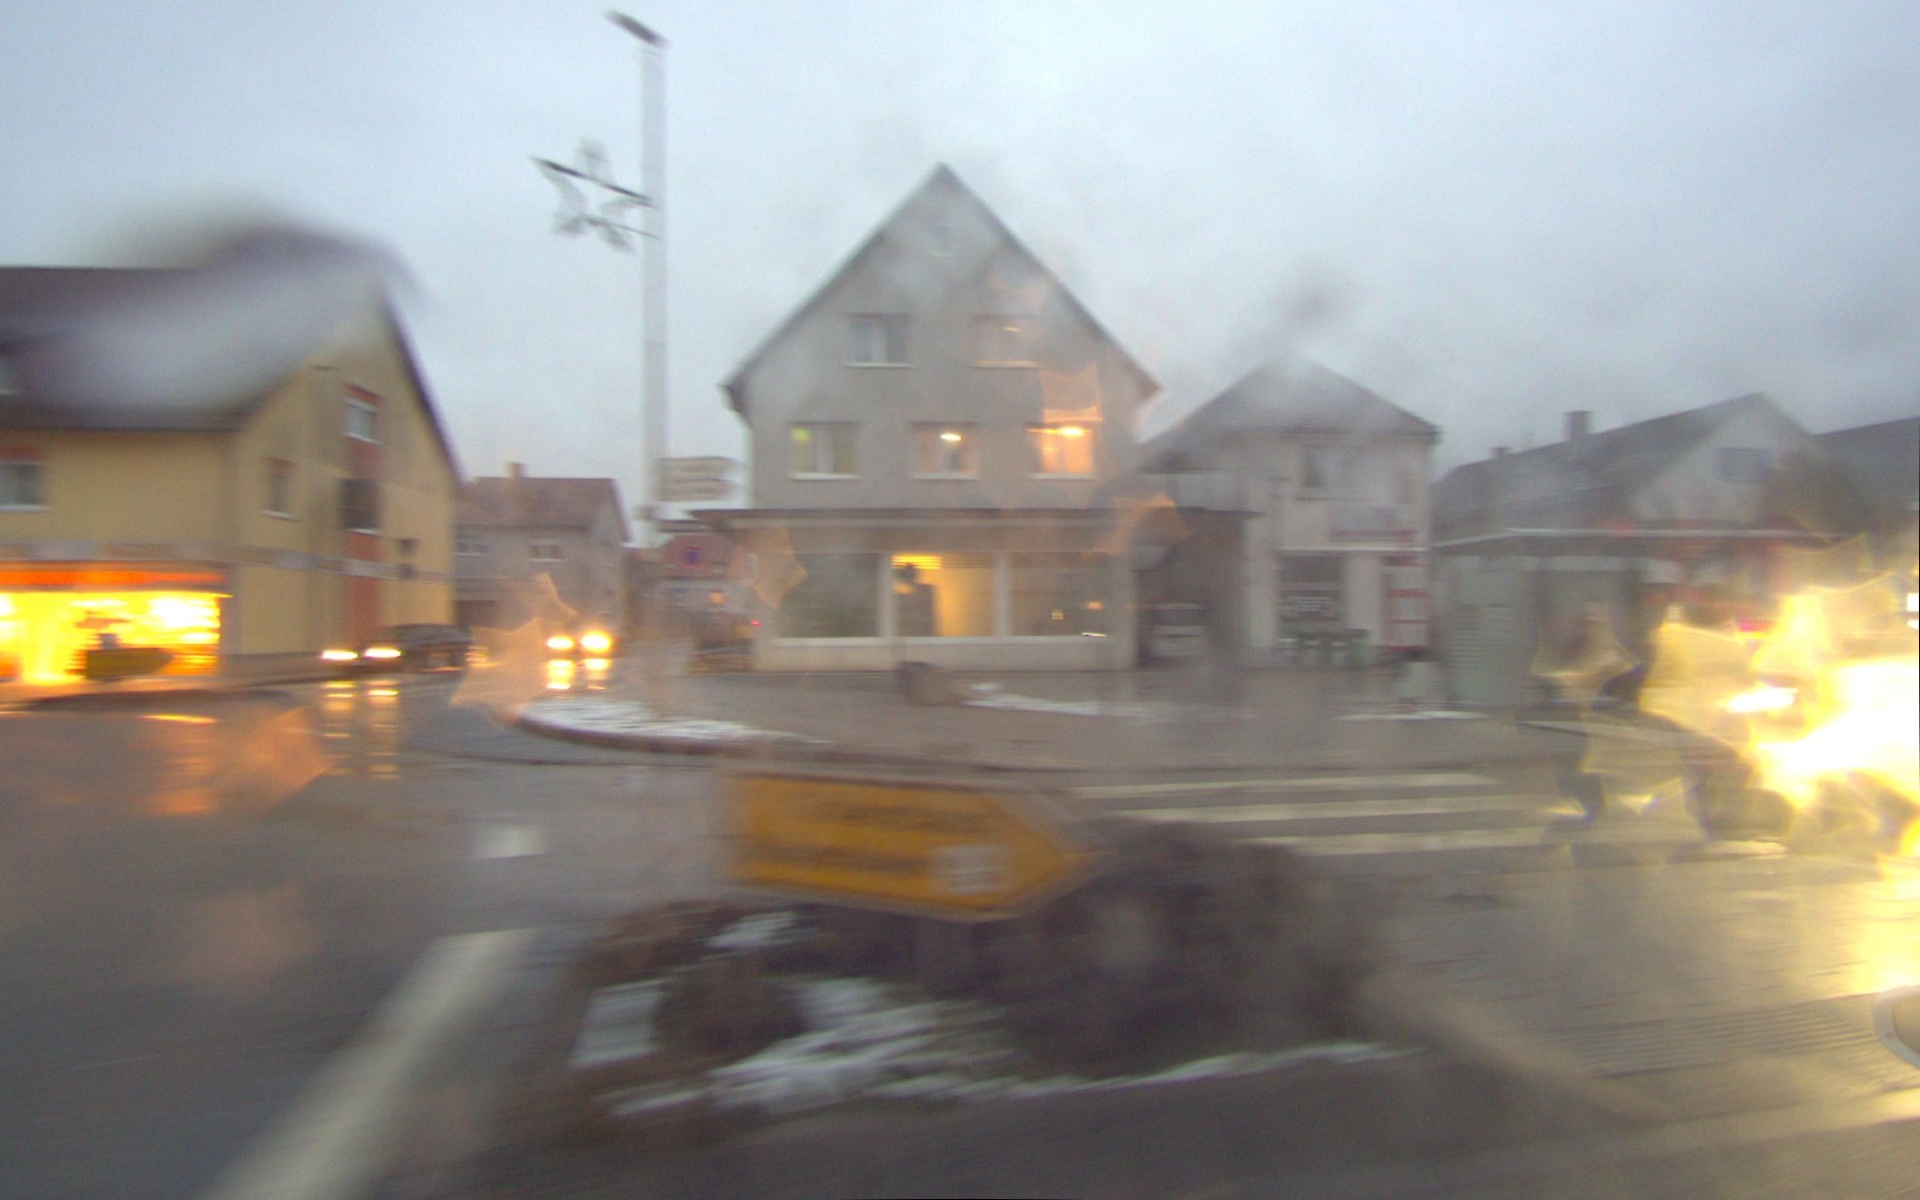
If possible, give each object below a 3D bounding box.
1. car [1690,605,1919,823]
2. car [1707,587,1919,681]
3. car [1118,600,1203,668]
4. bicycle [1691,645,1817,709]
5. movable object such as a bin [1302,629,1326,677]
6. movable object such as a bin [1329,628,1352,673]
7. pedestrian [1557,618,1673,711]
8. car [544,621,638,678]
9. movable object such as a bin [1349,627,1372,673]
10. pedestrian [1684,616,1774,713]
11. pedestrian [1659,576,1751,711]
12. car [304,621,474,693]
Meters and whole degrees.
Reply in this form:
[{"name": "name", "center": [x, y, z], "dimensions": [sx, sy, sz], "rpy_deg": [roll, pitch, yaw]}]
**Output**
[{"name": "car", "center": [8.314, 0.801, 8.106], "dimensions": [3.826, 1.523, 1.705], "rpy_deg": [0, 0, -8]}, {"name": "car", "center": [17.856, 0.684, 20.291], "dimensions": [4.482, 1.723, 1.759], "rpy_deg": [-1, -4, -10]}, {"name": "car", "center": [5.811, 0.987, 29.415], "dimensions": [1.485, 1.878, 3.424], "rpy_deg": [0, -1, -6]}, {"name": "bicycle", "center": [13.312, 1.283, 16.852], "dimensions": [1.704, 1.023, 0.471], "rpy_deg": [-1, -1, 1]}, {"name": "movable object such as a bin", "center": [9.036, 1.350, 25.649], "dimensions": [0.445, 1.226, 0.287], "rpy_deg": [2, 0, -10]}, {"name": "movable object such as a bin", "center": [9.744, 1.295, 25.727], "dimensions": [0.445, 1.135, 0.287], "rpy_deg": [2, 0, -10]}, {"name": "pedestrian", "center": [8.975, 0.866, 13.810], "dimensions": [0.885, 1.174, 0.990], "rpy_deg": [-2, 0, -6]}, {"name": "car", "center": [-14.831, 1.950, 40.624], "dimensions": [1.960, 2.040, 4.466], "rpy_deg": [2, 0, 2]}, {"name": "movable object such as a bin", "center": [10.316, 1.295, 25.859], "dimensions": [0.445, 1.158, 0.287], "rpy_deg": [2, 0, -10]}, {"name": "pedestrian", "center": [10.770, 0.884, 14.089], "dimensions": [0.737, 1.288, 0.686], "rpy_deg": [-1, 1, -11]}, {"name": "pedestrian", "center": [10.073, 0.564, 13.593], "dimensions": [0.676, 1.766, 0.748], "rpy_deg": [-1, 1, -15]}, {"name": "car", "center": [-14.946, 1.425, 26.600], "dimensions": [1.851, 1.627, 4.375], "rpy_deg": [2, 0, 2]}]
